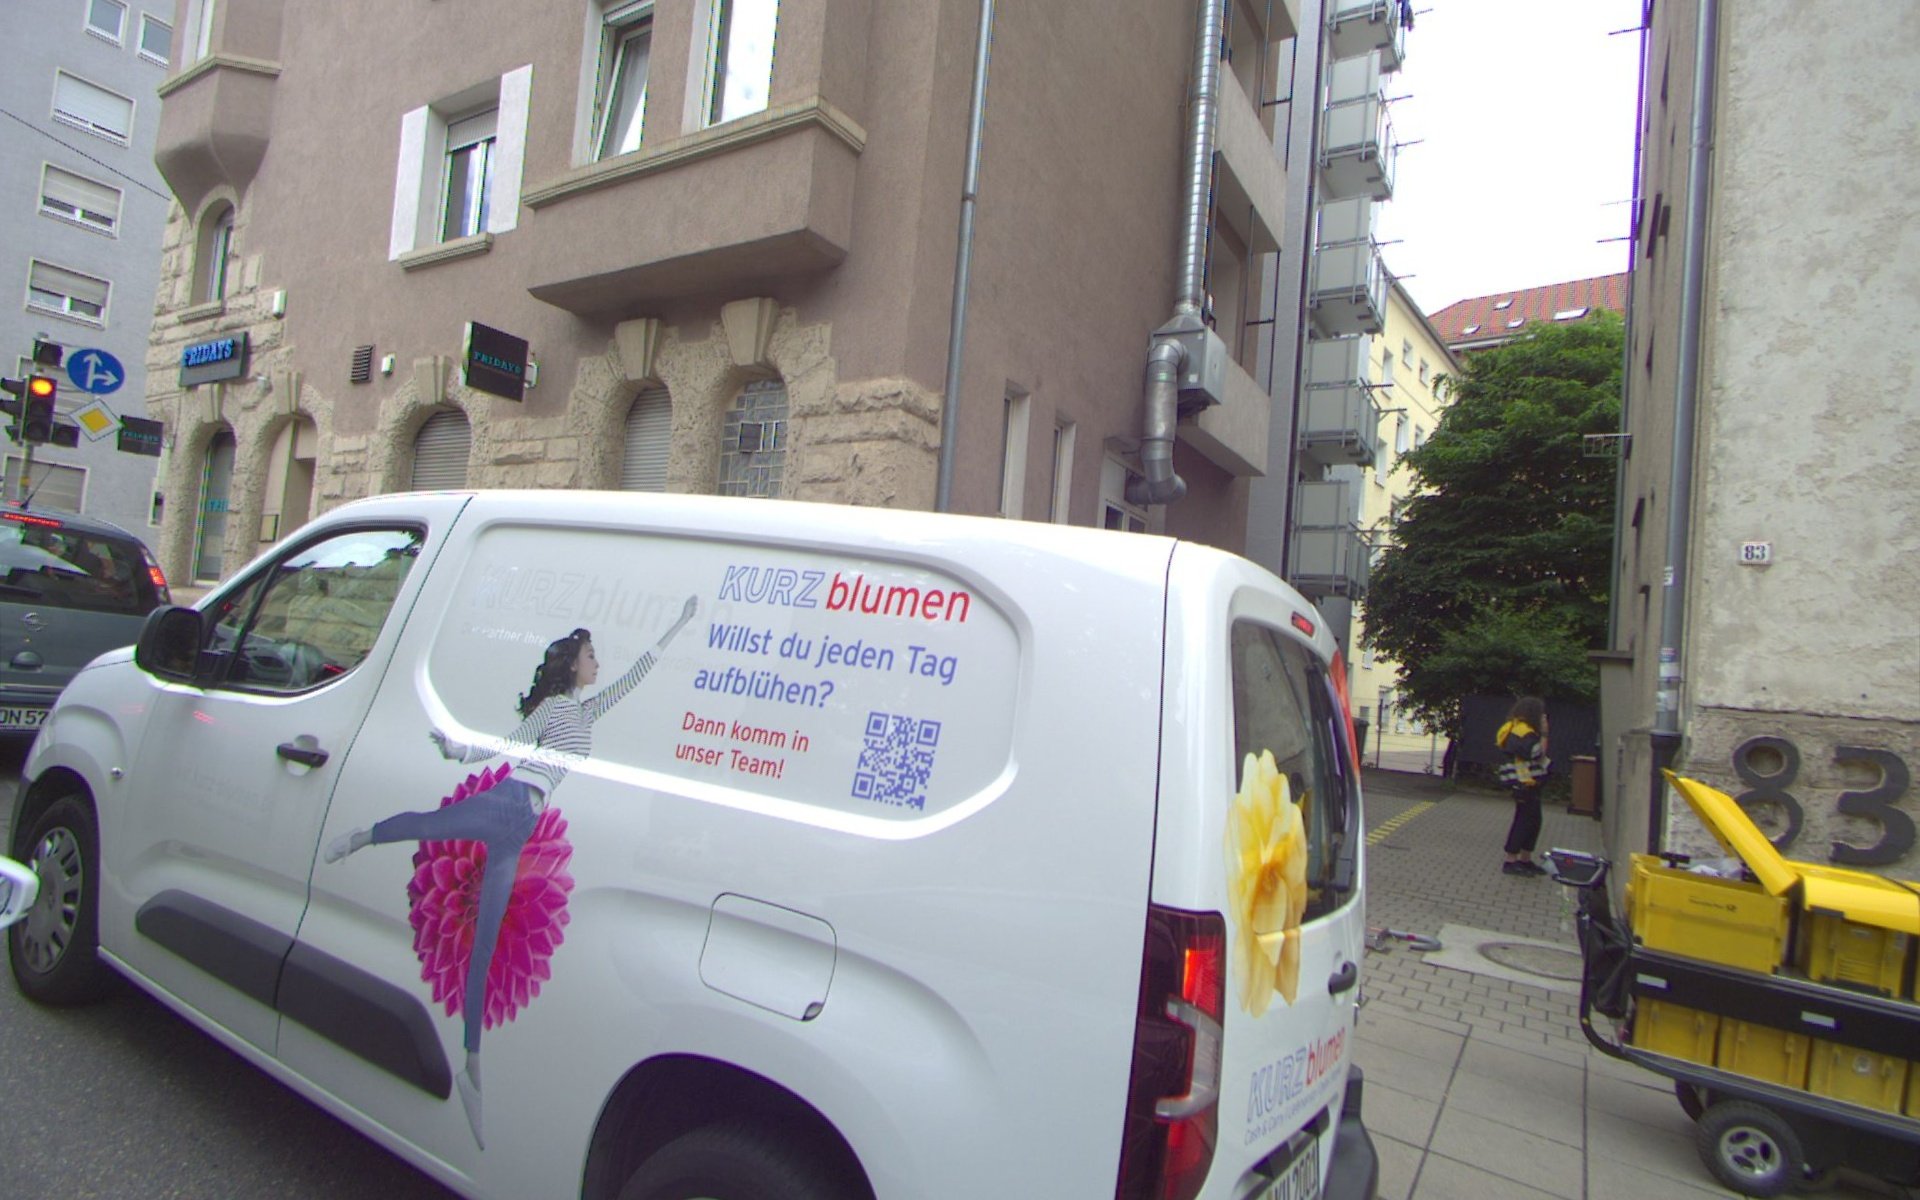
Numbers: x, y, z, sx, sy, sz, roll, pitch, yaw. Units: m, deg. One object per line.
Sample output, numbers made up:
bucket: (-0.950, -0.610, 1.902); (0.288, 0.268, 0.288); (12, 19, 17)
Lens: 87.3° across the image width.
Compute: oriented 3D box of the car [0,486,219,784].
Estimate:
car: (-6.710, 0.050, 6.532); (3.608, 1.614, 1.634); (6, -5, 32)

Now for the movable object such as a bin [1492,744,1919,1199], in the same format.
movable object such as a bin: (3.322, 1.455, 4.005); (1.979, 1.391, 1.223); (6, 0, 30)

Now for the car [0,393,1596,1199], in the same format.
car: (-0.905, 0.586, 3.116); (4.597, 1.793, 1.983); (6, -5, 30)

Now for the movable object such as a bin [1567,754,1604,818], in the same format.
movable object such as a bin: (9.932, 2.945, 15.985); (0.405, 0.922, 0.340); (6, -1, 32)

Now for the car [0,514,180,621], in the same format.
car: (-17.642, -0.706, 18.934); (1.664, 1.611, 4.260); (5, -5, 34)

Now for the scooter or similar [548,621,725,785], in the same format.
scooter or similar: (-2.676, 0.815, 8.275); (1.400, 1.117, 0.527); (6, -1, 34)

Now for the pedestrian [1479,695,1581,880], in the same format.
pedestrian: (5.559, 1.786, 9.847); (0.770, 1.665, 0.811); (1, -3, 24)
